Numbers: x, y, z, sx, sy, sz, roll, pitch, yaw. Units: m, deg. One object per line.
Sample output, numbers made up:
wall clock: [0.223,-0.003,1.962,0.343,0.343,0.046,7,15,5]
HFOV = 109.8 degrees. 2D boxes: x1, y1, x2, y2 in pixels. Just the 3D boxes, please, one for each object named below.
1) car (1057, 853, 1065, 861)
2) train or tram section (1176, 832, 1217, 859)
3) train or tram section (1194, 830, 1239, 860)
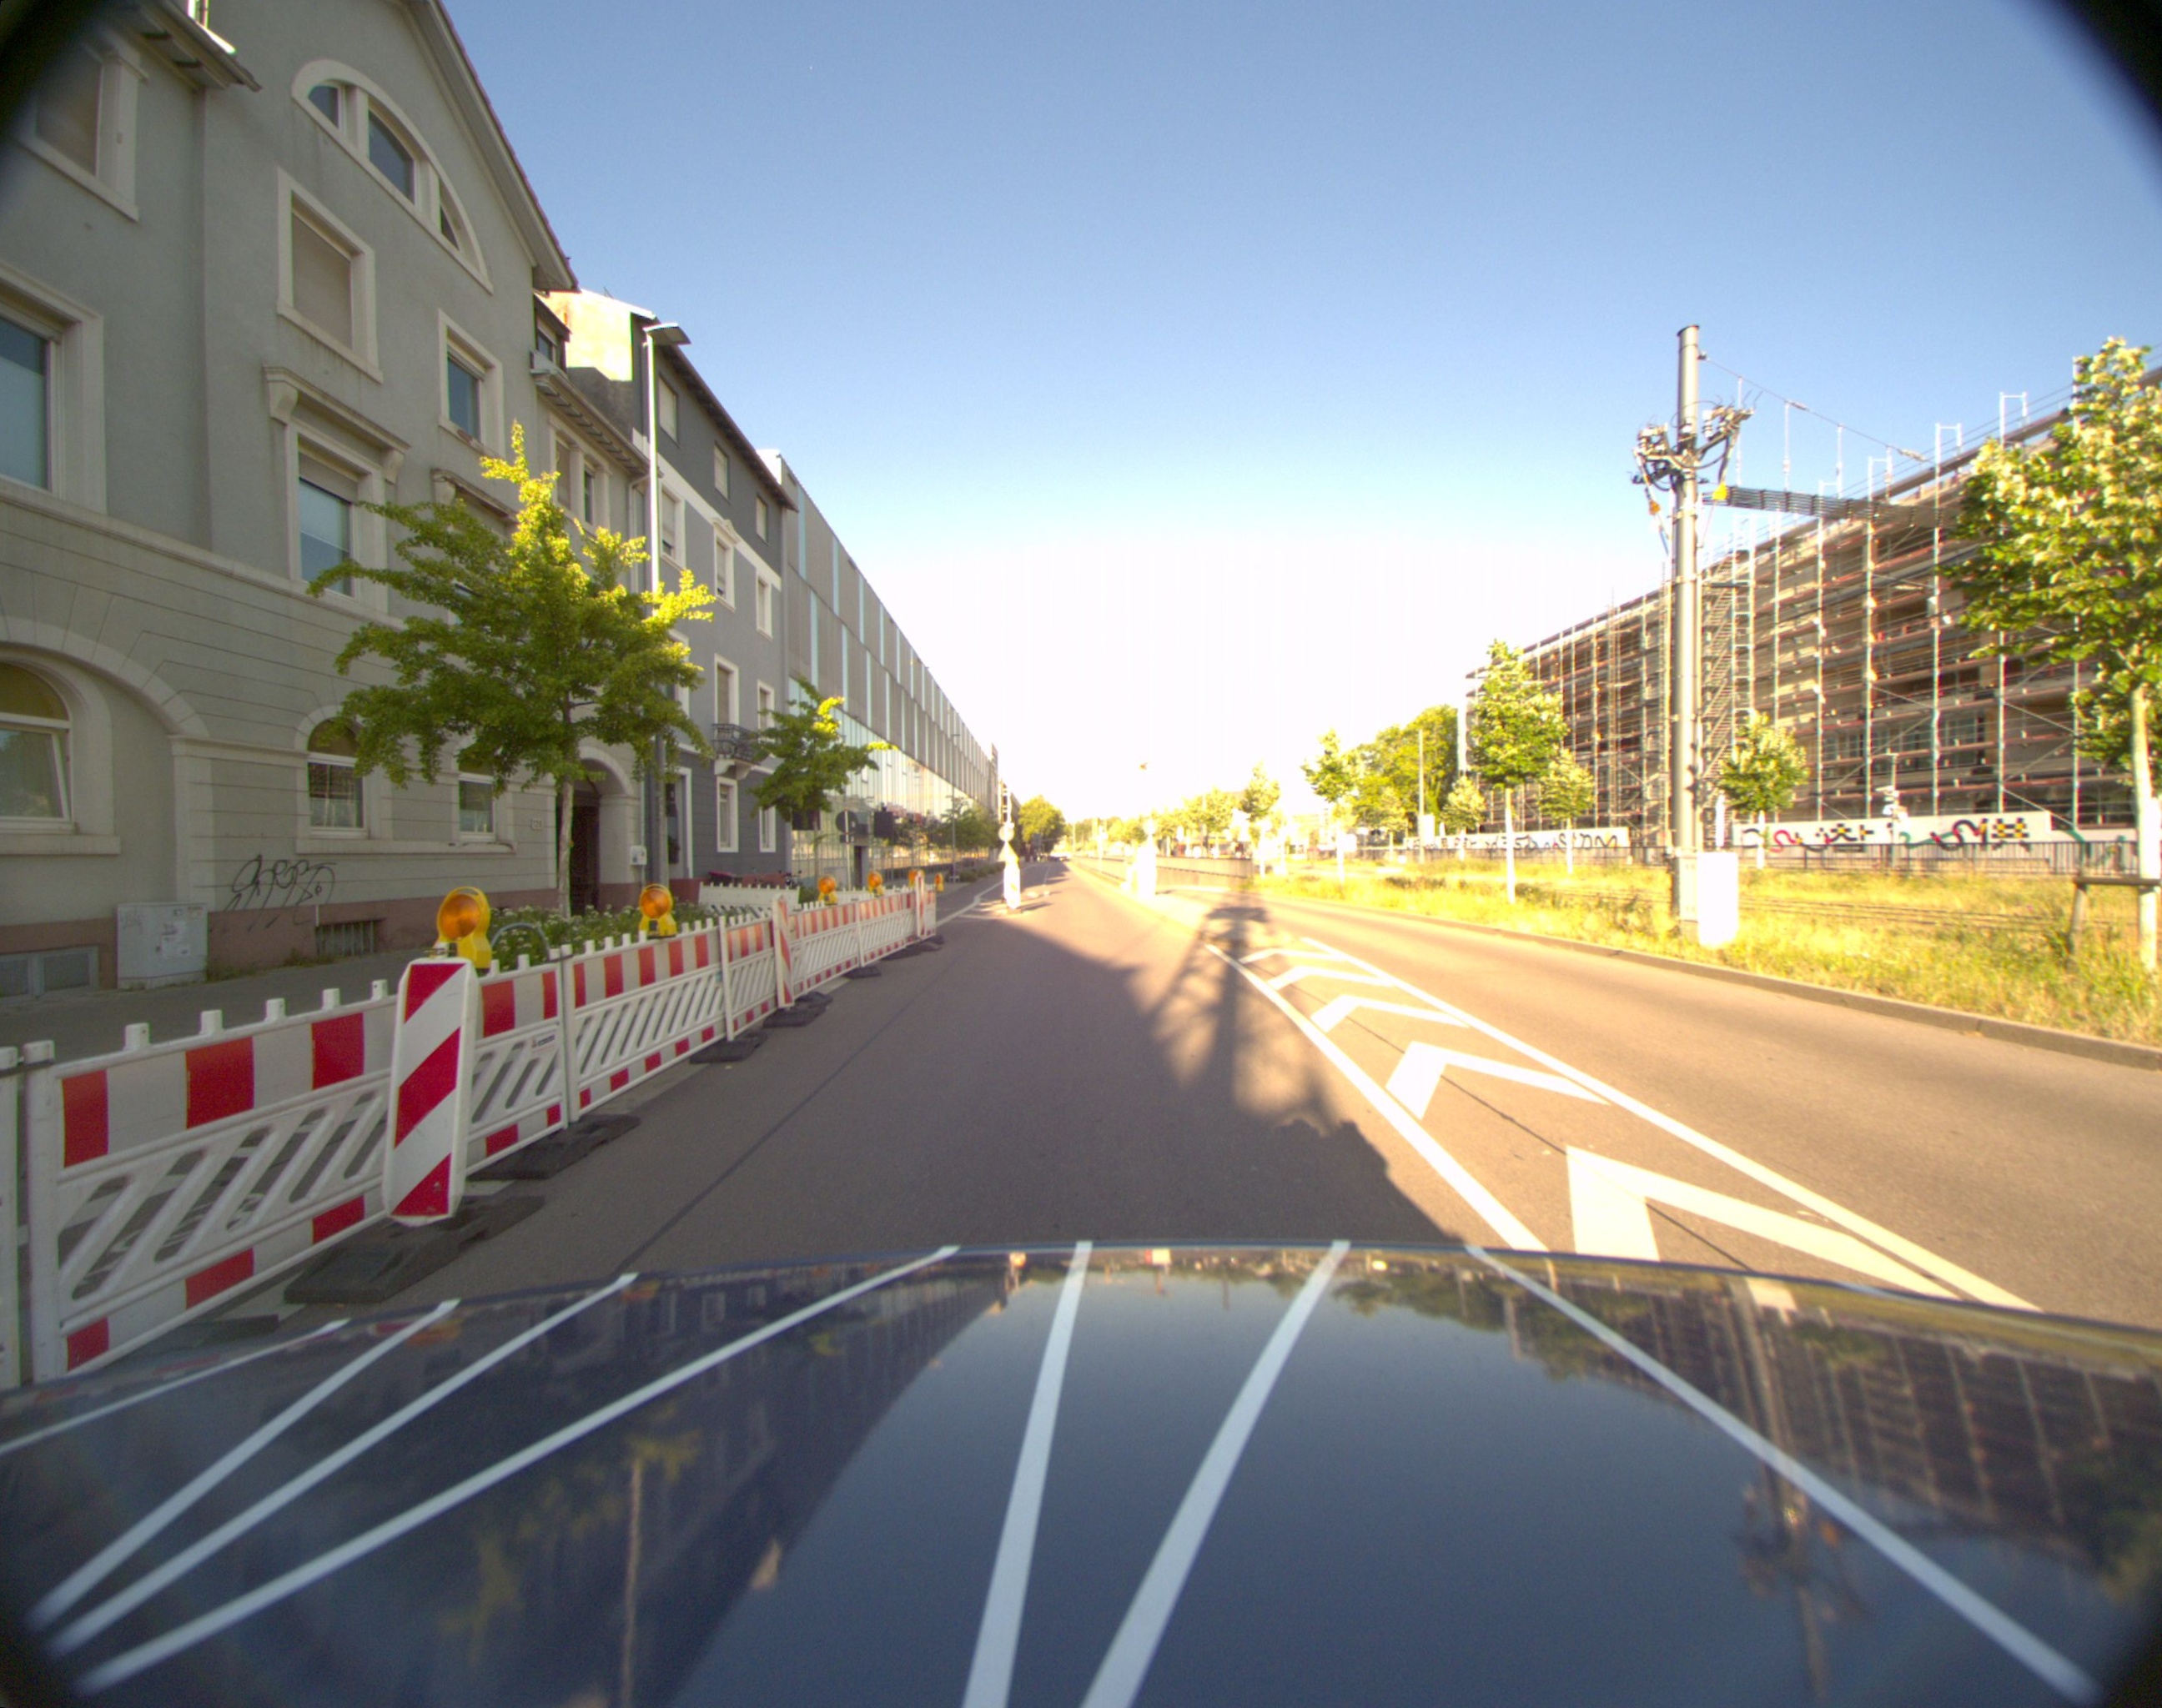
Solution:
car: [-4.917,0.789,187.409,1.941,2.002,3.825,-1,0,-3]
train or tram section: [16.203,-1.217,107.889,2.954,3.378,14.761,-2,1,-2]
train or tram section: [16.592,-1.093,94.169,2.954,3.378,12.630,-2,1,-2]
